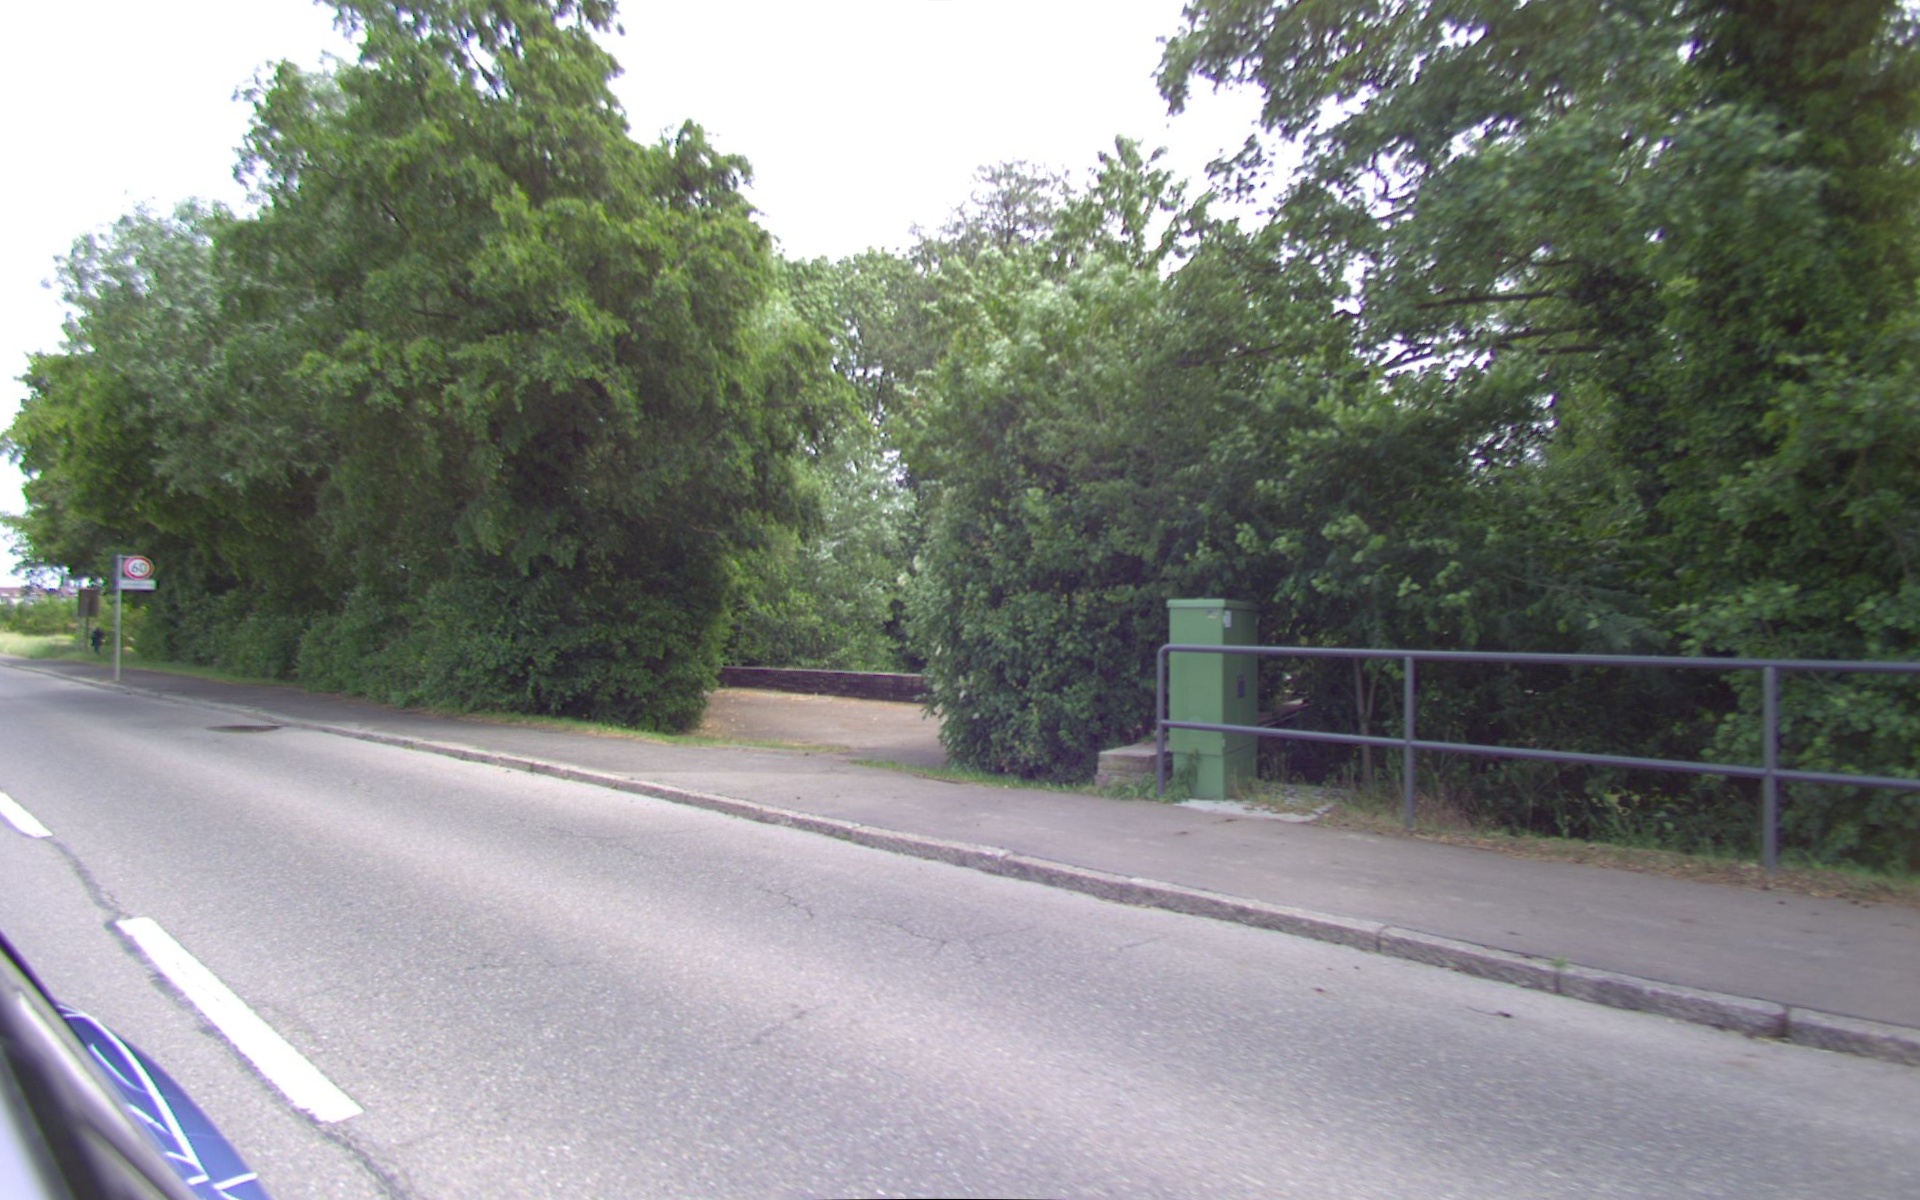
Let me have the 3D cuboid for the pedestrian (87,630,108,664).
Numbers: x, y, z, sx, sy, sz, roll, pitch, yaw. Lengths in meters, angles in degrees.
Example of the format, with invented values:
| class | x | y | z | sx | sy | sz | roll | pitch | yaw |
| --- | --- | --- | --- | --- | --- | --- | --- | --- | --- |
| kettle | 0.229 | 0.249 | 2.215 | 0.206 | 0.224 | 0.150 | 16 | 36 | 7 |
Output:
| class | x | y | z | sx | sy | sz | roll | pitch | yaw |
| --- | --- | --- | --- | --- | --- | --- | --- | --- | --- |
| pedestrian | -40.681 | 2.212 | 47.755 | 0.695 | 1.606 | 0.708 | 1 | -4 | -38 |
